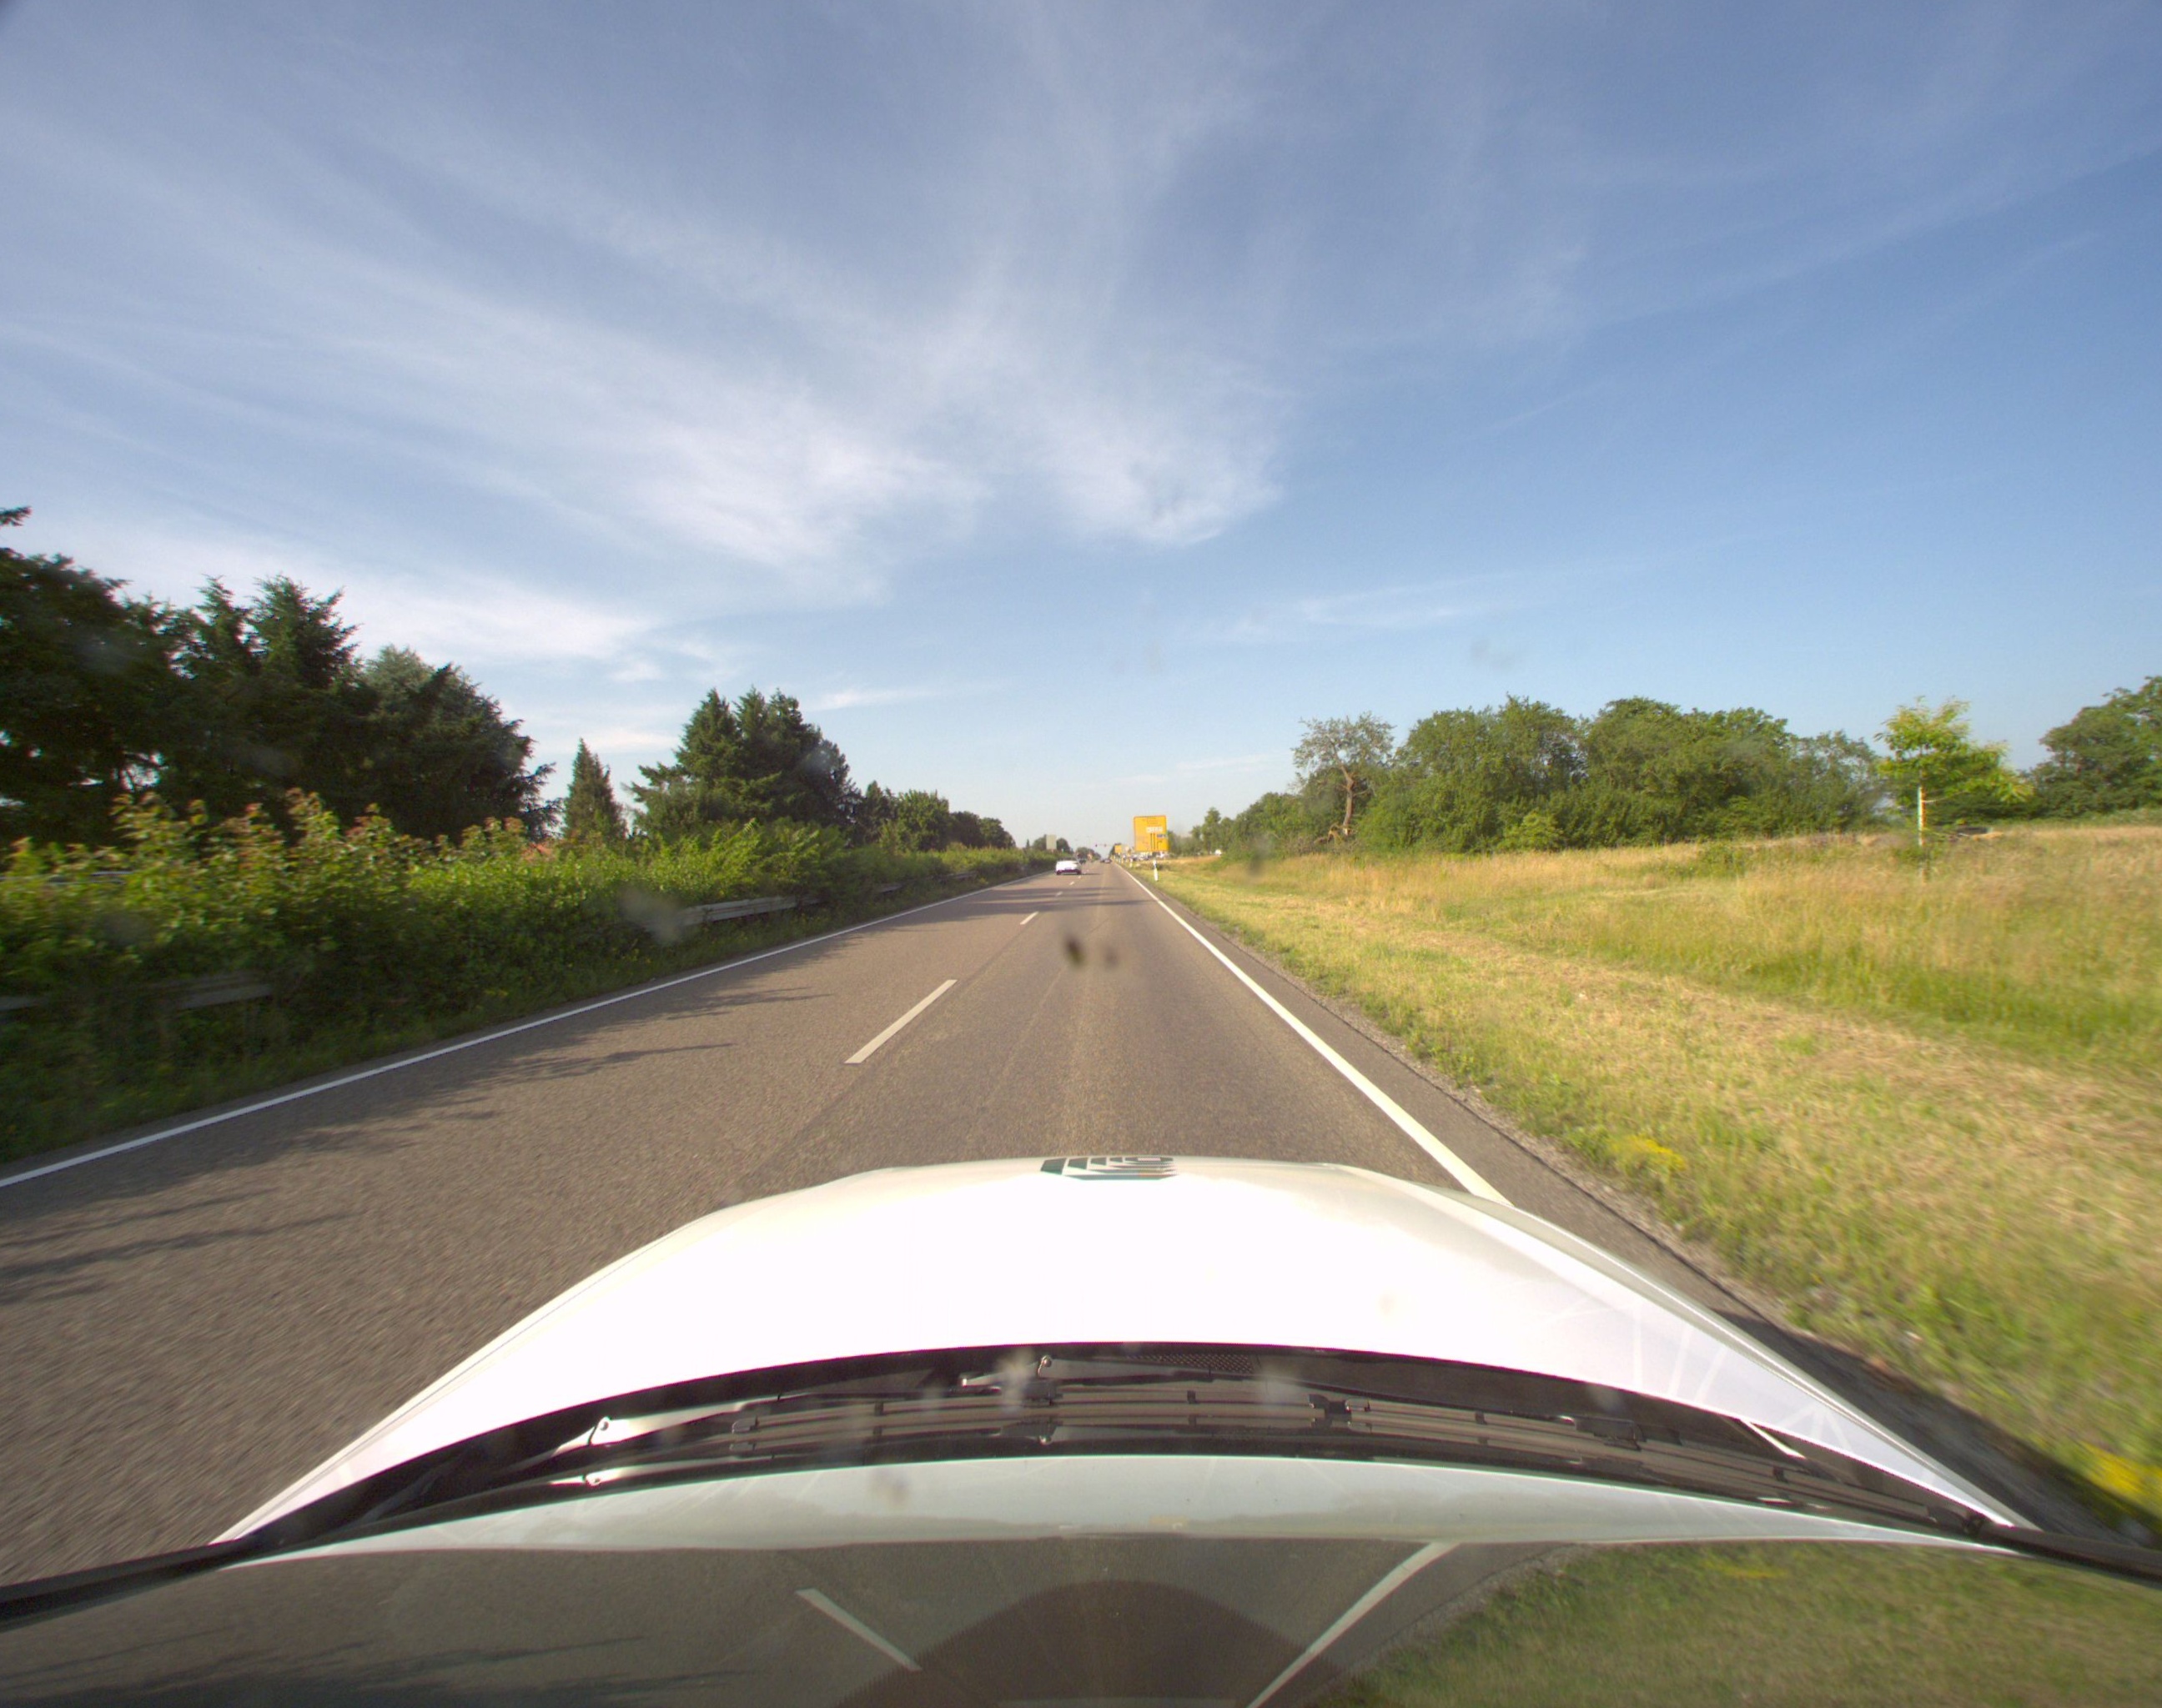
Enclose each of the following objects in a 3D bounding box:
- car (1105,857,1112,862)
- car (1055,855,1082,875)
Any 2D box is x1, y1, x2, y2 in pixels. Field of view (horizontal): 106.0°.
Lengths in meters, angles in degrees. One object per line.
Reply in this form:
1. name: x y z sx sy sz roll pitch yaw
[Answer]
1. car: 8.644 1.650 254.334 1.986 1.486 4.001 -1 0 1
2. car: -0.951 0.839 63.356 1.903 1.422 4.001 -1 0 1
